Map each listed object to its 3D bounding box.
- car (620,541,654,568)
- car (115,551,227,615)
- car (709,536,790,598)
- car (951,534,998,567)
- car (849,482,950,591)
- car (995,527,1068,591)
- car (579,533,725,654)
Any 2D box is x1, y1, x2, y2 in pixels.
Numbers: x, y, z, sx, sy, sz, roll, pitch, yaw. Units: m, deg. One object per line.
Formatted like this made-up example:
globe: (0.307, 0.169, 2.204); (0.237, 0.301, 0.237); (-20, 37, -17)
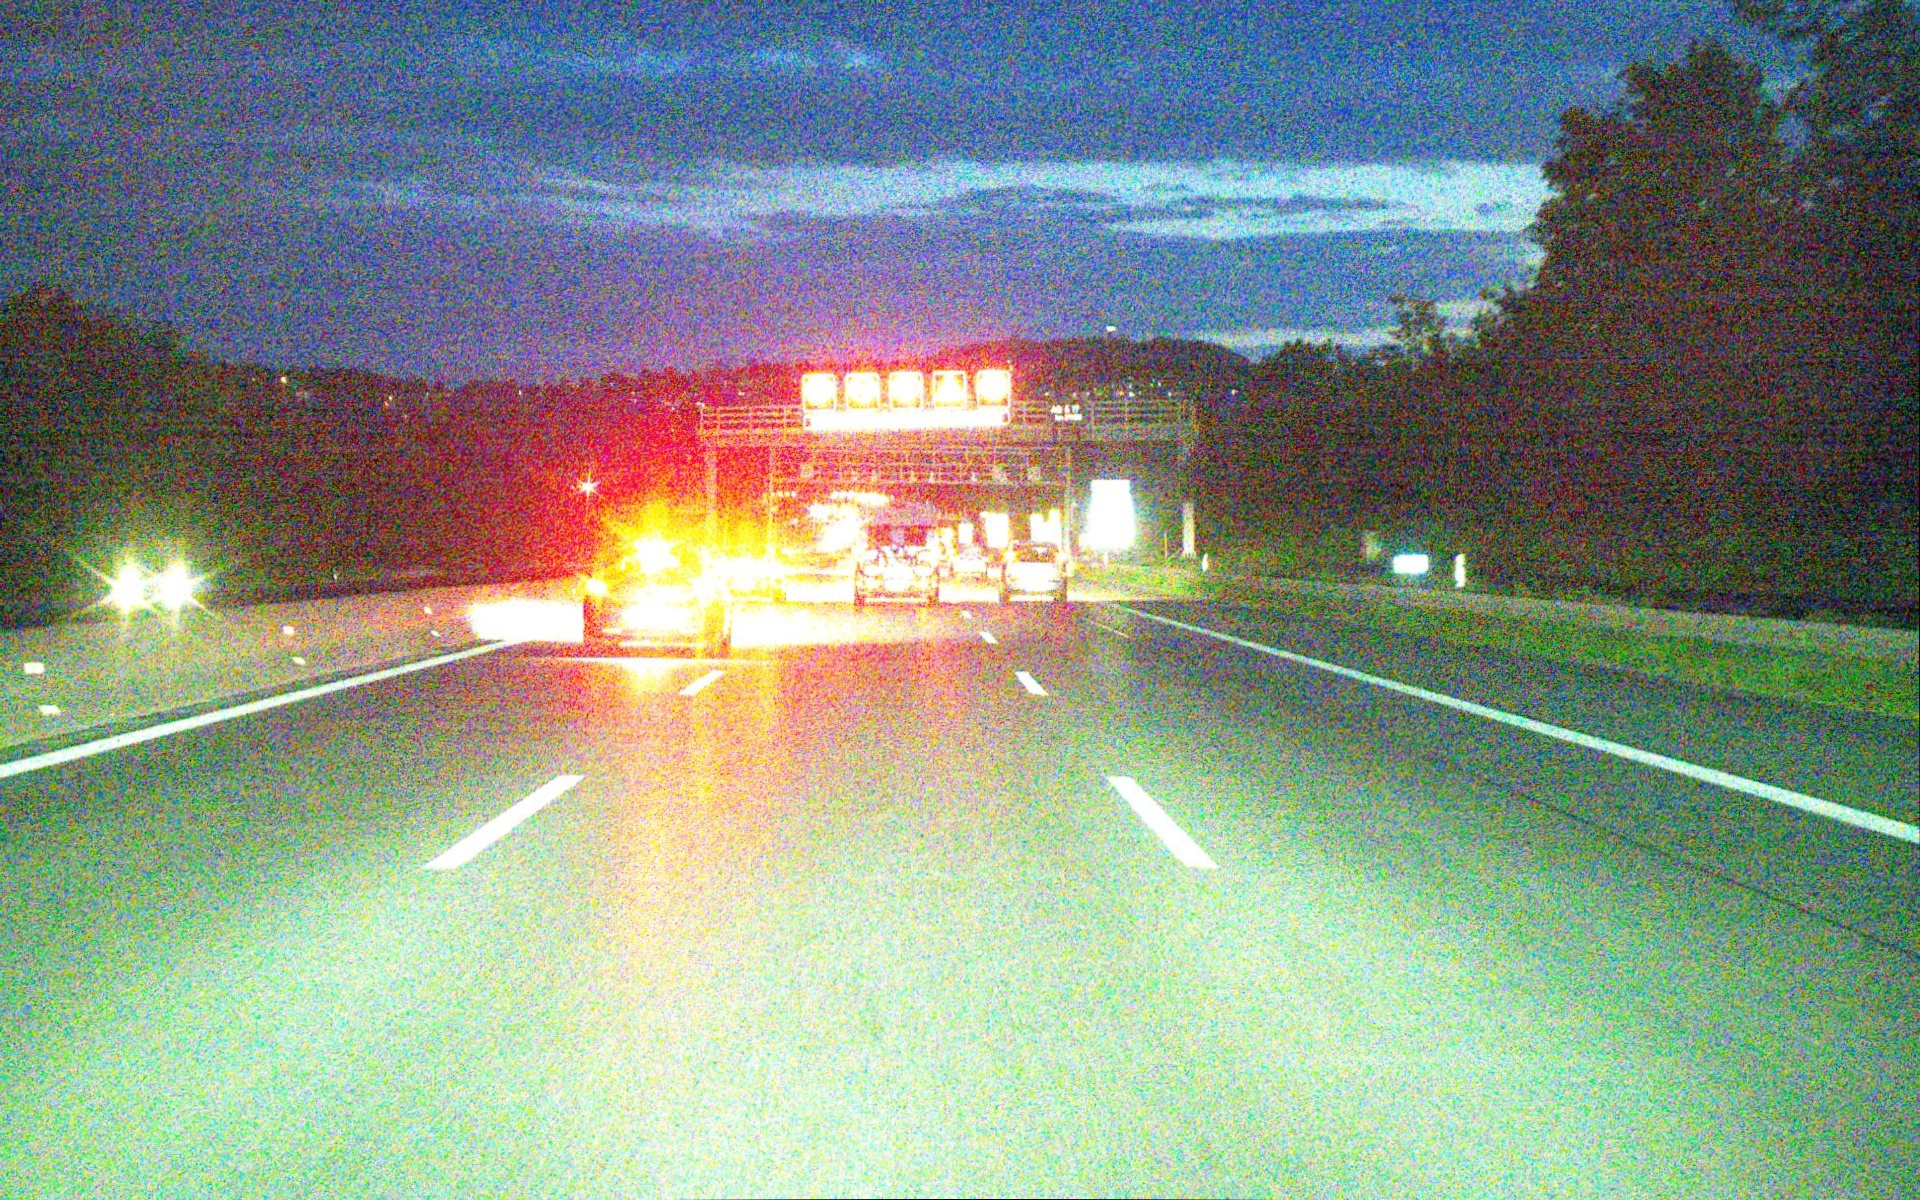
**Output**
car: (-20.001, -2.843, 213.098); (1.903, 1.612, 4.404); (-1, 1, -3)
car: (-21.528, -0.455, 93.961); (1.903, 1.628, 5.046); (2, 0, -1)
car: (-5.106, -0.827, 83.772); (1.744, 1.435, 4.368); (-1, 1, -1)
car: (0.664, -2.338, 162.948); (2.163, 1.558, 4.723); (0, 1, -1)
car: (-1.443, -1.534, 82.982); (2.351, 2.526, 5.701); (-1, 1, -1)
car: (1.837, -1.066, 89.066); (1.646, 1.591, 4.510); (1, 1, -2)
car: (-3.978, -0.117, 44.610); (1.793, 1.464, 3.773); (1, 1, -4)
